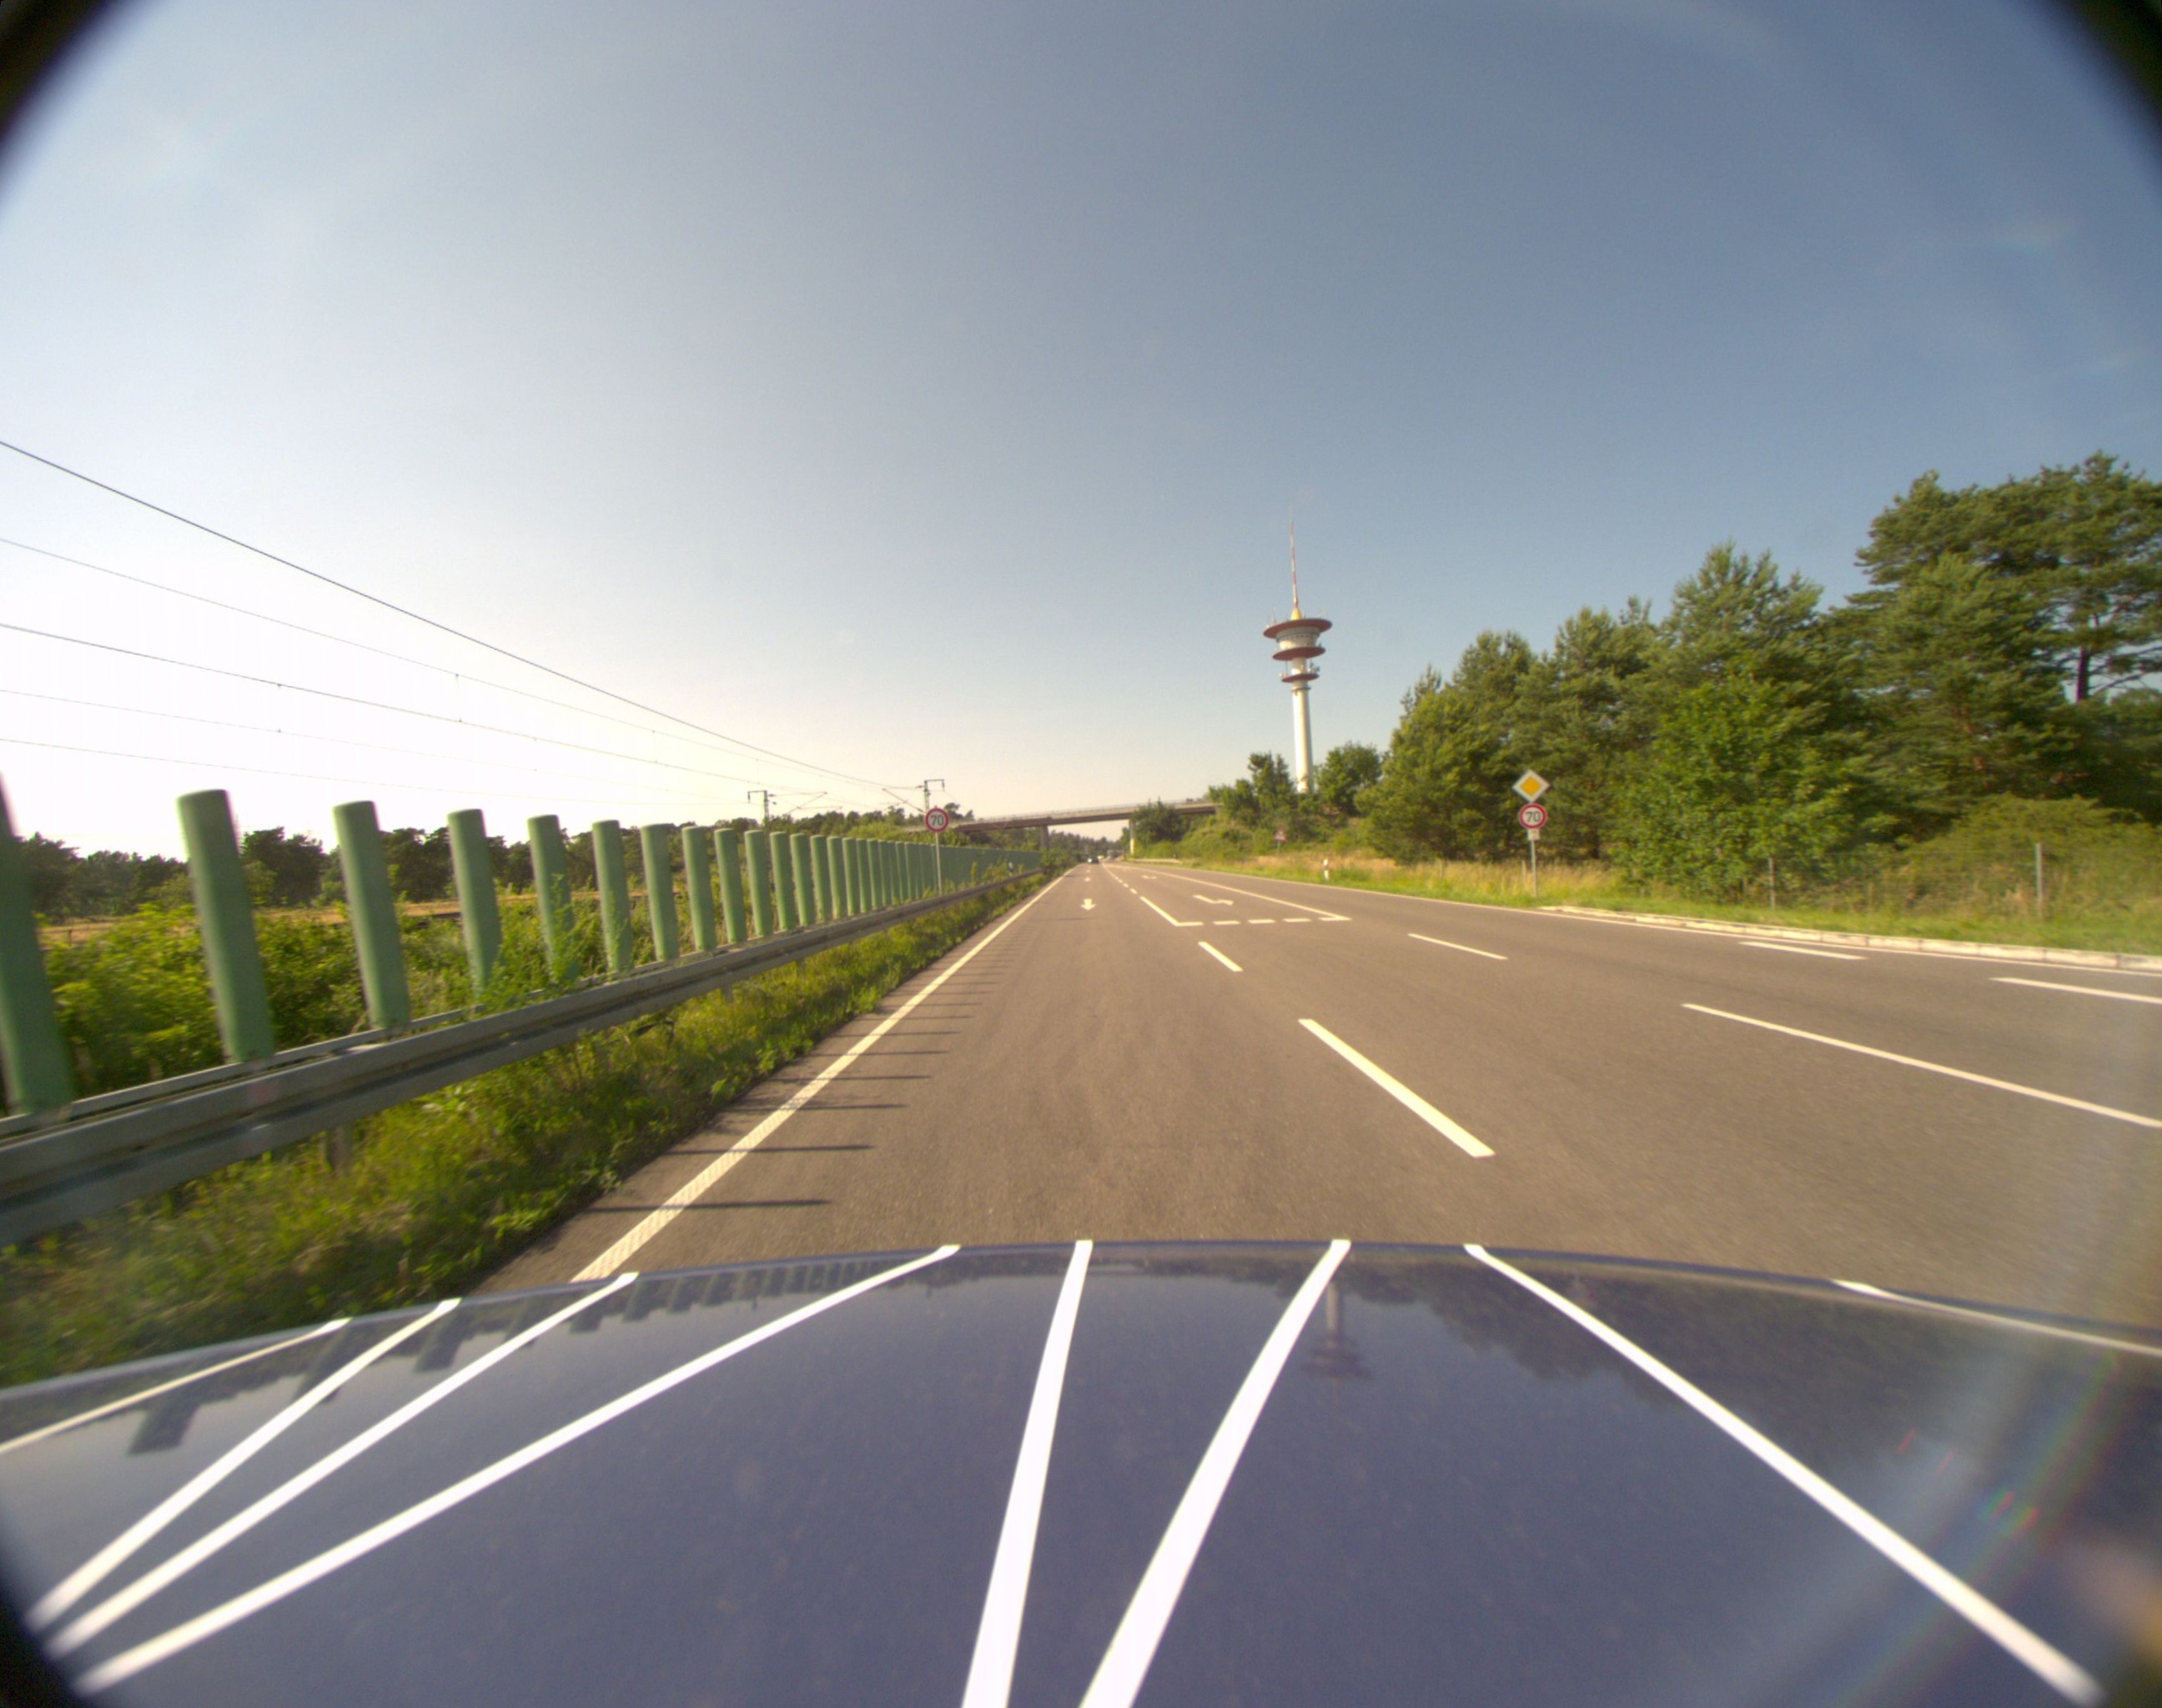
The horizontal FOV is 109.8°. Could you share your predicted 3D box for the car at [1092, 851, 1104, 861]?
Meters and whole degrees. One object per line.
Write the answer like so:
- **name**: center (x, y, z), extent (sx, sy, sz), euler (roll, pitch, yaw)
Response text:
- **car**: center (2.826, 0.347, 127.230), extent (1.998, 1.533, 4.332), euler (-1, 0, 2)
